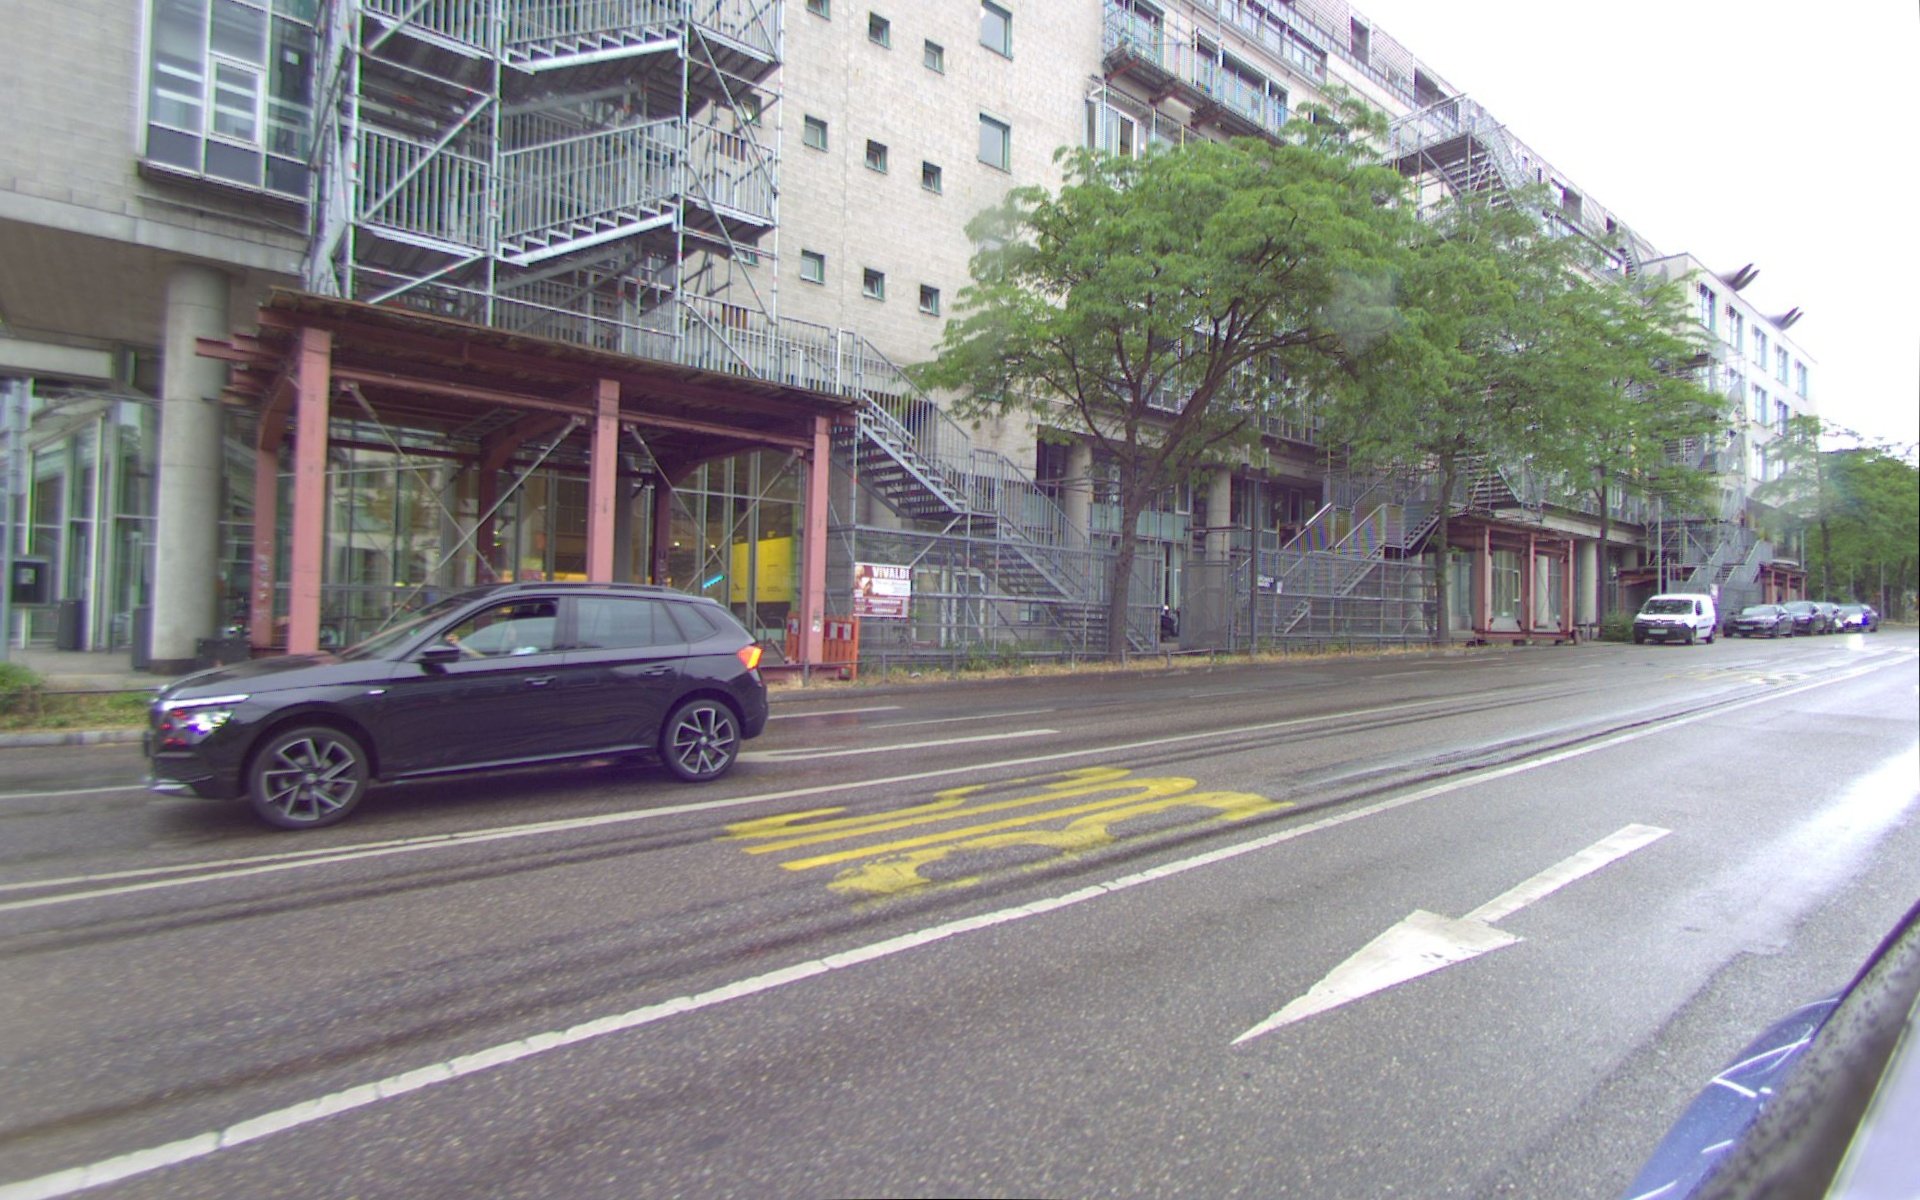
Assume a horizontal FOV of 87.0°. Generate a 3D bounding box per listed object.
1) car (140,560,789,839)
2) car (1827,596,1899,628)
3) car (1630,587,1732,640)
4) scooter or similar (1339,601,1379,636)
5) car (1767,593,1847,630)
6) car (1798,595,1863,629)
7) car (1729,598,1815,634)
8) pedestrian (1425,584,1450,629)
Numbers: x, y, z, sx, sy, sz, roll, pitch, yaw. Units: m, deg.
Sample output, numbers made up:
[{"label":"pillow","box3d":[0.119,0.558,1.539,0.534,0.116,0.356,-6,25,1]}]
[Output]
[{"label":"car","box3d":[-3.526,0.553,7.626,4.071,1.559,1.782,0,0,-39]},{"label":"car","box3d":[48.848,0.620,54.716,5.191,1.621,1.999,1,0,-38]},{"label":"car","box3d":[25.959,0.448,36.386,4.447,1.772,1.997,0,0,-41]},{"label":"scooter or similar","box3d":[13.540,0.618,34.315,1.520,1.176,0.632,0,0,-41]},{"label":"car","box3d":[40.097,0.546,47.877,4.774,1.667,1.998,1,0,-39]},{"label":"car","box3d":[44.127,0.586,51.289,4.512,1.621,1.865,1,0,-41]},{"label":"car","box3d":[34.992,0.671,43.573,4.831,1.455,1.873,1,0,-39]},{"label":"pedestrian","box3d":[19.047,0.264,40.392,0.641,1.764,0.678,0,0,-38]}]
